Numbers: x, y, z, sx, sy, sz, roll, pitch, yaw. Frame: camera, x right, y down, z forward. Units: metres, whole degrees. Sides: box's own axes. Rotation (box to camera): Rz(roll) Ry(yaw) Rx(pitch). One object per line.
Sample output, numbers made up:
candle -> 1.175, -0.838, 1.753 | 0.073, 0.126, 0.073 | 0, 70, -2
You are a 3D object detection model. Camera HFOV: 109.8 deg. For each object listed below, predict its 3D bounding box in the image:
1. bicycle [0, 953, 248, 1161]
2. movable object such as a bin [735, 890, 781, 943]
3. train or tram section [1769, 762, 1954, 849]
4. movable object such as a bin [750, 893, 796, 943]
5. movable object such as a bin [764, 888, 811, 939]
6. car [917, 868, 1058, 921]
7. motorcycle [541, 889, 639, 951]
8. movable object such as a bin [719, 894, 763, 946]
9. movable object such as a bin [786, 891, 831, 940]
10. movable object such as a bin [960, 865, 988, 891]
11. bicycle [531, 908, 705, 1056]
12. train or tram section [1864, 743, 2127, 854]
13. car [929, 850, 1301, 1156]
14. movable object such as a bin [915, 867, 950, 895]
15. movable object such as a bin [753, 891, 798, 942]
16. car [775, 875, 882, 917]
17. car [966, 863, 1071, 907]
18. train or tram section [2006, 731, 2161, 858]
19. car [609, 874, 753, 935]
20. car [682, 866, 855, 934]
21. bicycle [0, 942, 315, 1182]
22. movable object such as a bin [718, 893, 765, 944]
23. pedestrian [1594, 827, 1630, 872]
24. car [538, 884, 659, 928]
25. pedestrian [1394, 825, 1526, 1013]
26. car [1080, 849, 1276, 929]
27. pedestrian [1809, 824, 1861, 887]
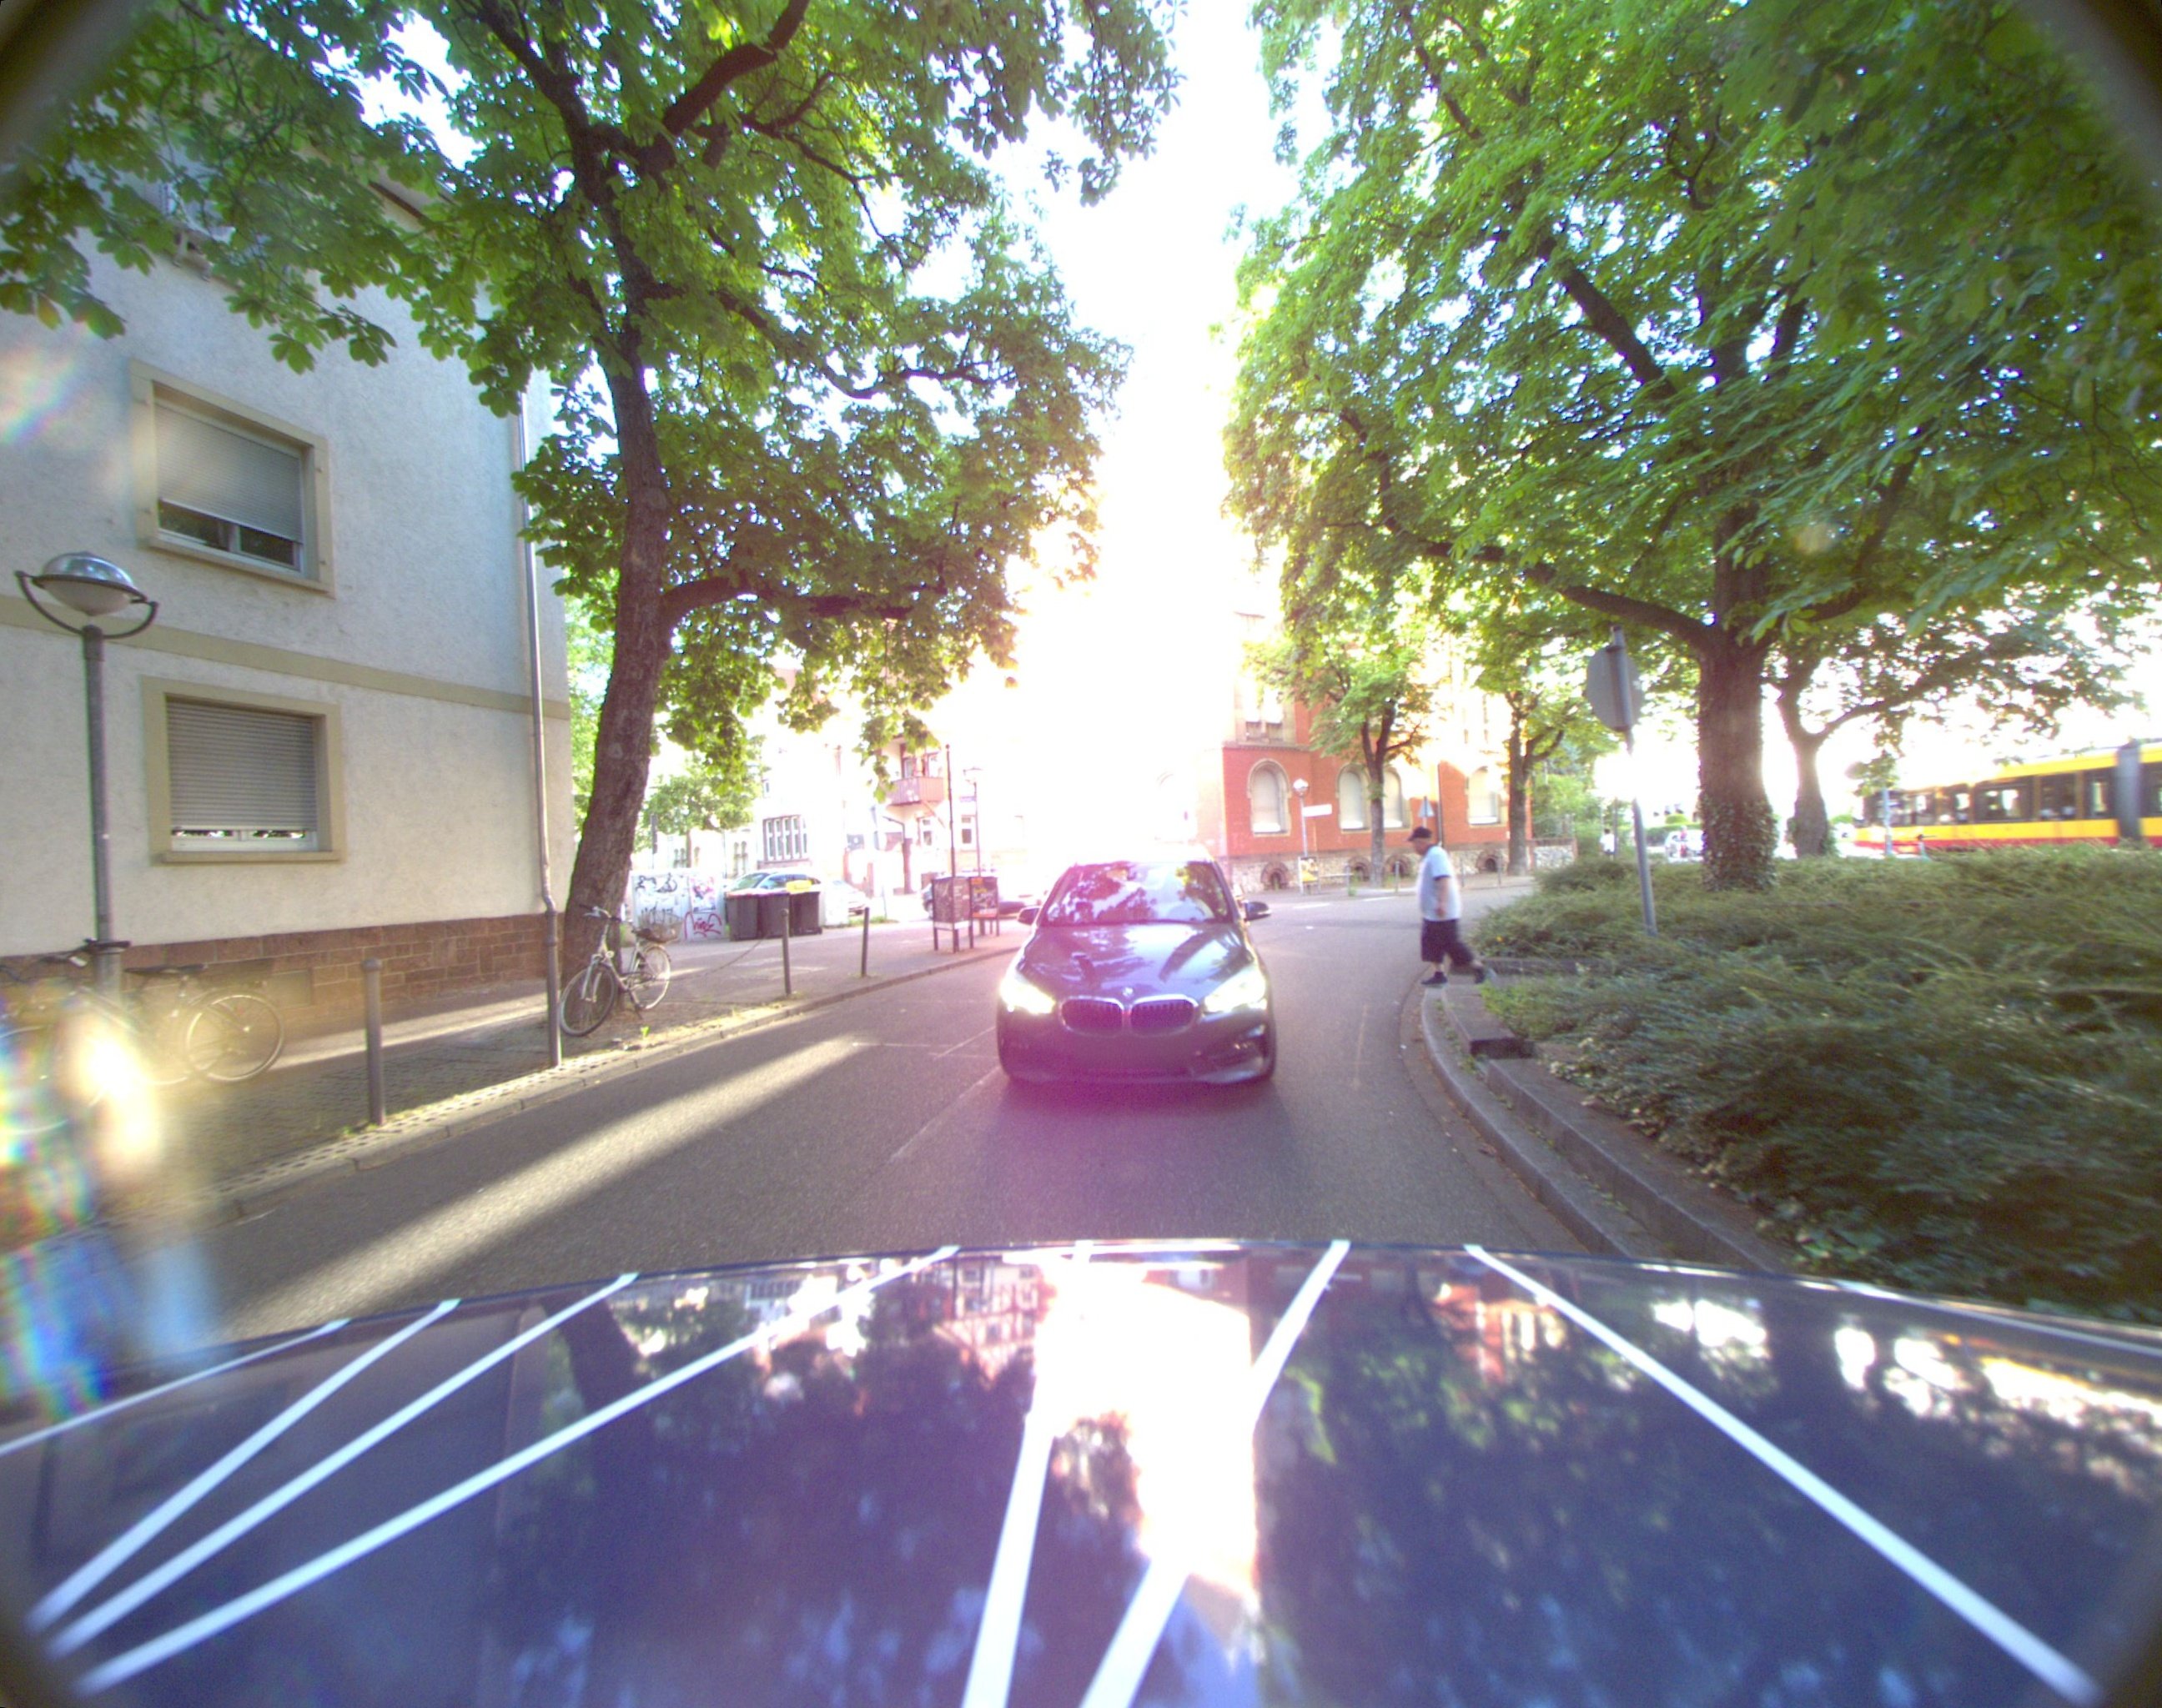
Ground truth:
bicycle -> -6.823, 1.337, 5.114 | 0.392, 1.102, 1.803 | -3, 0, 0
movable object such as a bin -> -7.503, 1.450, 17.650 | 0.700, 1.146, 0.635 | -4, 2, 40
train or tram section -> 36.505, -2.156, 35.973 | 2.968, 3.487, 7.197 | -4, 1, 18
movable object such as a bin -> -7.616, 1.573, 18.788 | 0.714, 1.146, 0.741 | -3, 0, 40
movable object such as a bin -> -7.038, 1.420, 18.232 | 0.699, 1.146, 0.741 | -3, 0, 40
car -> -2.914, 1.237, 23.167 | 4.244, 1.387, 1.798 | -3, 0, 40
motorcycle -> -11.203, 1.499, 17.328 | 2.177, 1.272, 0.980 | -3, 0, 31
movable object such as a bin -> -7.509, 1.447, 16.786 | 0.672, 1.077, 0.594 | -3, 0, 38
movable object such as a bin -> -6.363, 1.420, 17.746 | 0.692, 1.058, 0.660 | -3, 1, 40
movable object such as a bin -> -5.736, 1.266, 40.881 | 0.685, 1.310, 1.387 | -3, 1, 33
bicycle -> -4.561, 1.206, 7.657 | 0.555, 1.175, 1.790 | -3, 0, 2
train or tram section -> 34.386, -1.946, 29.121 | 2.968, 3.487, 7.197 | -4, 1, 18
car -> 0.452, 0.819, 6.324 | 1.923, 1.597, 4.519 | -3, 0, 8
movable object such as a bin -> -7.573, 1.372, 38.828 | 1.383, 1.291, 0.966 | -4, 1, -41
movable object such as a bin -> -6.896, 1.404, 17.157 | 0.703, 1.069, 0.632 | -3, 0, 40
car -> -9.543, 1.583, 28.550 | 4.244, 1.387, 1.798 | -3, 0, 40
car -> -2.415, 1.195, 28.973 | 3.787, 1.477, 1.713 | -3, 2, 40
train or tram section -> 32.191, -1.791, 22.261 | 2.933, 3.570, 7.197 | -4, 1, 18
car -> -12.851, 1.574, 24.558 | 1.699, 1.641, 3.712 | -3, 0, 43
car -> -8.952, 1.276, 22.056 | 2.019, 1.702, 4.128 | -4, -2, 35
bicycle -> -6.393, 1.298, 5.176 | 0.438, 1.174, 1.785 | -3, 0, 2
movable object such as a bin -> -8.137, 1.535, 18.197 | 0.699, 1.146, 0.741 | -3, 0, 40
pedestrian -> 19.819, -0.172, 28.371 | 0.858, 1.633, 0.871 | -3, 0, 19
car -> -18.804, 2.000, 29.725 | 1.673, 1.496, 3.608 | -4, -2, 40
pedestrian -> 3.690, 0.588, 7.396 | 0.920, 1.674, 0.778 | -3, 0, -41
car -> 2.228, 0.829, 18.227 | 2.003, 1.584, 4.251 | -5, 1, -44
pedestrian -> 19.840, 0.041, 20.009 | 0.852, 1.595, 0.603 | -3, 0, 39
